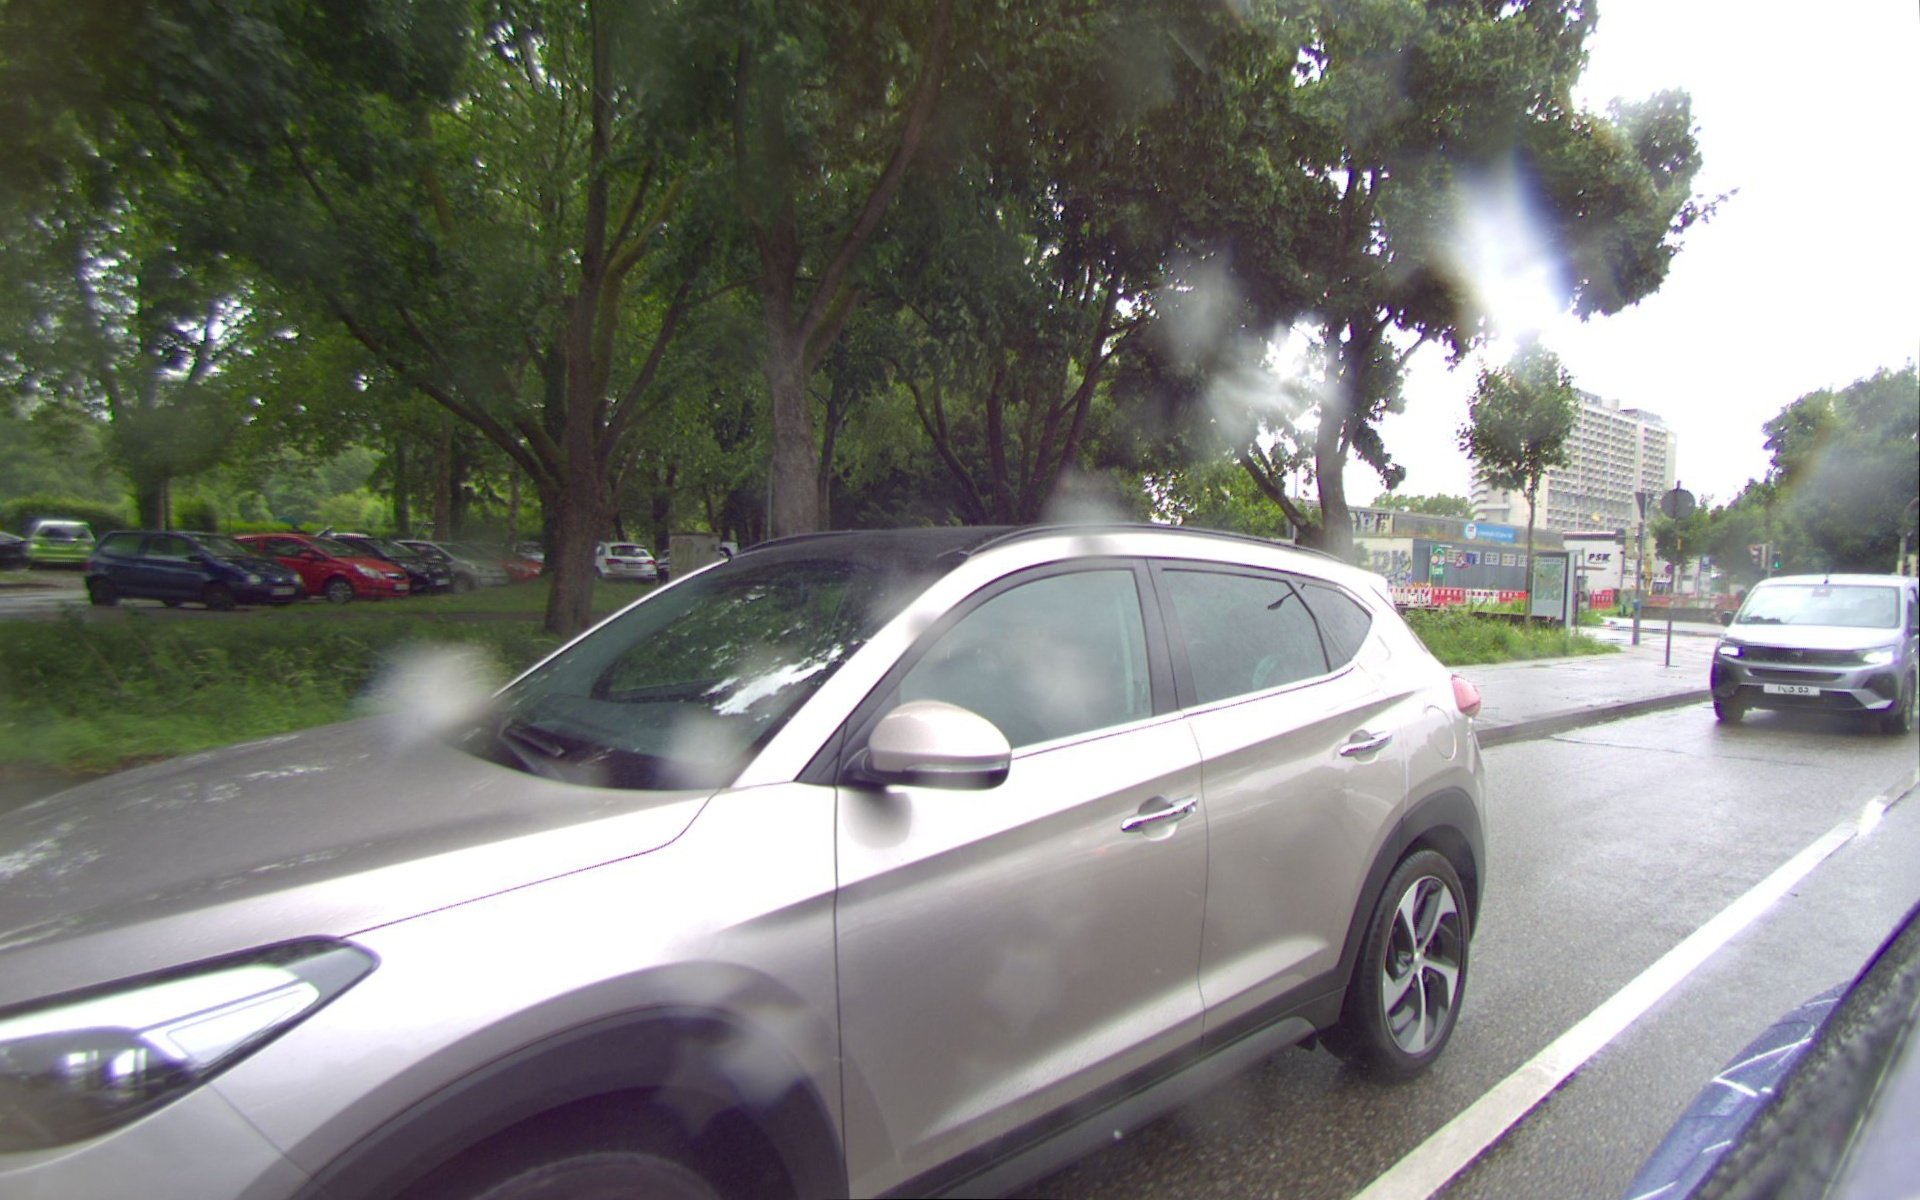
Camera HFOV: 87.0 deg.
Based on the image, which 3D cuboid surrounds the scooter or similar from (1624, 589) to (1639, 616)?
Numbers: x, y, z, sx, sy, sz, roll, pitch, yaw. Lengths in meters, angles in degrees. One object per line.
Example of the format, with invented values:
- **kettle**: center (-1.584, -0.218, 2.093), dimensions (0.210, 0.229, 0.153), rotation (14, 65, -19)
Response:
- **scooter or similar**: center (29.847, 0.129, 44.983), dimensions (0.549, 1.191, 0.286), rotation (1, 2, -32)

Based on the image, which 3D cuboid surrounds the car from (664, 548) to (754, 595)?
- **car**: center (-8.453, -0.930, 33.900), dimensions (1.639, 1.467, 3.720), rotation (-1, 1, -37)

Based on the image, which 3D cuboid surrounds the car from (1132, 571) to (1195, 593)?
- **car**: center (14.756, -1.325, 73.382), dimensions (4.123, 1.592, 1.810), rotation (0, 1, -13)

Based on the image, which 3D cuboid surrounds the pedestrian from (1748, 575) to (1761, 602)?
- **pedestrian**: center (56.710, -0.811, 72.250), dimensions (0.860, 1.920, 0.580), rotation (0, 1, -39)

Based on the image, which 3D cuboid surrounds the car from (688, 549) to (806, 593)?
- **car**: center (-7.745, -1.025, 36.424), dimensions (2.127, 1.467, 5.415), rotation (-1, 1, -36)

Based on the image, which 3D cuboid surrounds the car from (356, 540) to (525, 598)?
- **car**: center (-13.561, -0.800, 26.506), dimensions (3.690, 1.467, 1.666), rotation (0, 1, 9)

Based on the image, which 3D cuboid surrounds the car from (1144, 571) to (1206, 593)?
- **car**: center (15.083, -1.280, 71.070), dimensions (3.916, 1.529, 1.706), rotation (0, 1, -13)

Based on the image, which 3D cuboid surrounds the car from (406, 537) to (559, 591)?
- **car**: center (-13.511, -1.013, 28.700), dimensions (3.690, 1.467, 1.600), rotation (0, 1, 9)

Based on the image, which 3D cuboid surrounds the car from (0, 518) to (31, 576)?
- **car**: center (-26.916, -1.384, 26.201), dimensions (4.039, 1.518, 1.757), rotation (-1, 1, -37)

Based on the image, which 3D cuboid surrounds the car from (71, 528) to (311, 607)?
- **car**: center (-13.841, -0.578, 18.311), dimensions (3.329, 1.369, 1.523), rotation (0, 1, 6)

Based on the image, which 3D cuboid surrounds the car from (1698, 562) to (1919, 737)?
- **car**: center (11.129, 0.480, 12.713), dimensions (4.481, 1.818, 1.998), rotation (0, 1, -40)

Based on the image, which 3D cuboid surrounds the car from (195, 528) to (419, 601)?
- **car**: center (-13.751, -0.740, 21.443), dimensions (3.681, 1.467, 1.670), rotation (0, 1, 0)

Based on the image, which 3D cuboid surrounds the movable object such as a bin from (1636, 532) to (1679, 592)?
- **movable object such as a bin**: center (53.353, -2.891, 77.399), dimensions (3.837, 4.481, 1.558), rotation (0, 1, -37)

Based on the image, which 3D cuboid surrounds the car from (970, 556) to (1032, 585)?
- **car**: center (2.364, -1.681, 58.965), dimensions (1.688, 1.617, 3.669), rotation (0, 1, -36)

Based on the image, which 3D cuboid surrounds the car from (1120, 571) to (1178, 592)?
- **car**: center (14.219, -1.376, 76.001), dimensions (3.916, 1.529, 1.706), rotation (0, 1, -13)

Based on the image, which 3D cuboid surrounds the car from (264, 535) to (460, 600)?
- **car**: center (-14.046, -0.751, 23.914), dimensions (3.681, 1.467, 1.670), rotation (0, 1, 0)

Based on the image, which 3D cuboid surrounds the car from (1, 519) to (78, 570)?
- **car**: center (-29.310, -1.720, 32.218), dimensions (1.707, 1.474, 3.991), rotation (-1, 1, -43)

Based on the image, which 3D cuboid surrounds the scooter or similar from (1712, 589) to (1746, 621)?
- **scooter or similar**: center (31.628, 0.197, 41.622), dimensions (0.315, 1.244, 0.962), rotation (1, 5, -33)

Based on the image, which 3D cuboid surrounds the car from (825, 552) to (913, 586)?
- **car**: center (-4.599, -1.537, 50.887), dimensions (4.585, 1.603, 1.896), rotation (1, 1, 44)

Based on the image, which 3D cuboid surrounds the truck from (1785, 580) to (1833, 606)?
- **truck**: center (99.259, -0.830, 118.284), dimensions (8.594, 2.935, 2.810), rotation (-1, 1, -39)

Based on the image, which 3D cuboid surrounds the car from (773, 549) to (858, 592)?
- **car**: center (-5.658, -1.125, 39.217), dimensions (1.845, 1.544, 4.004), rotation (0, 1, -31)

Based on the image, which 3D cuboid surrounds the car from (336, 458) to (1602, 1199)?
- **car**: center (0.404, 0.555, 3.477), dimensions (4.122, 1.630, 1.888), rotation (-1, 2, -40)
